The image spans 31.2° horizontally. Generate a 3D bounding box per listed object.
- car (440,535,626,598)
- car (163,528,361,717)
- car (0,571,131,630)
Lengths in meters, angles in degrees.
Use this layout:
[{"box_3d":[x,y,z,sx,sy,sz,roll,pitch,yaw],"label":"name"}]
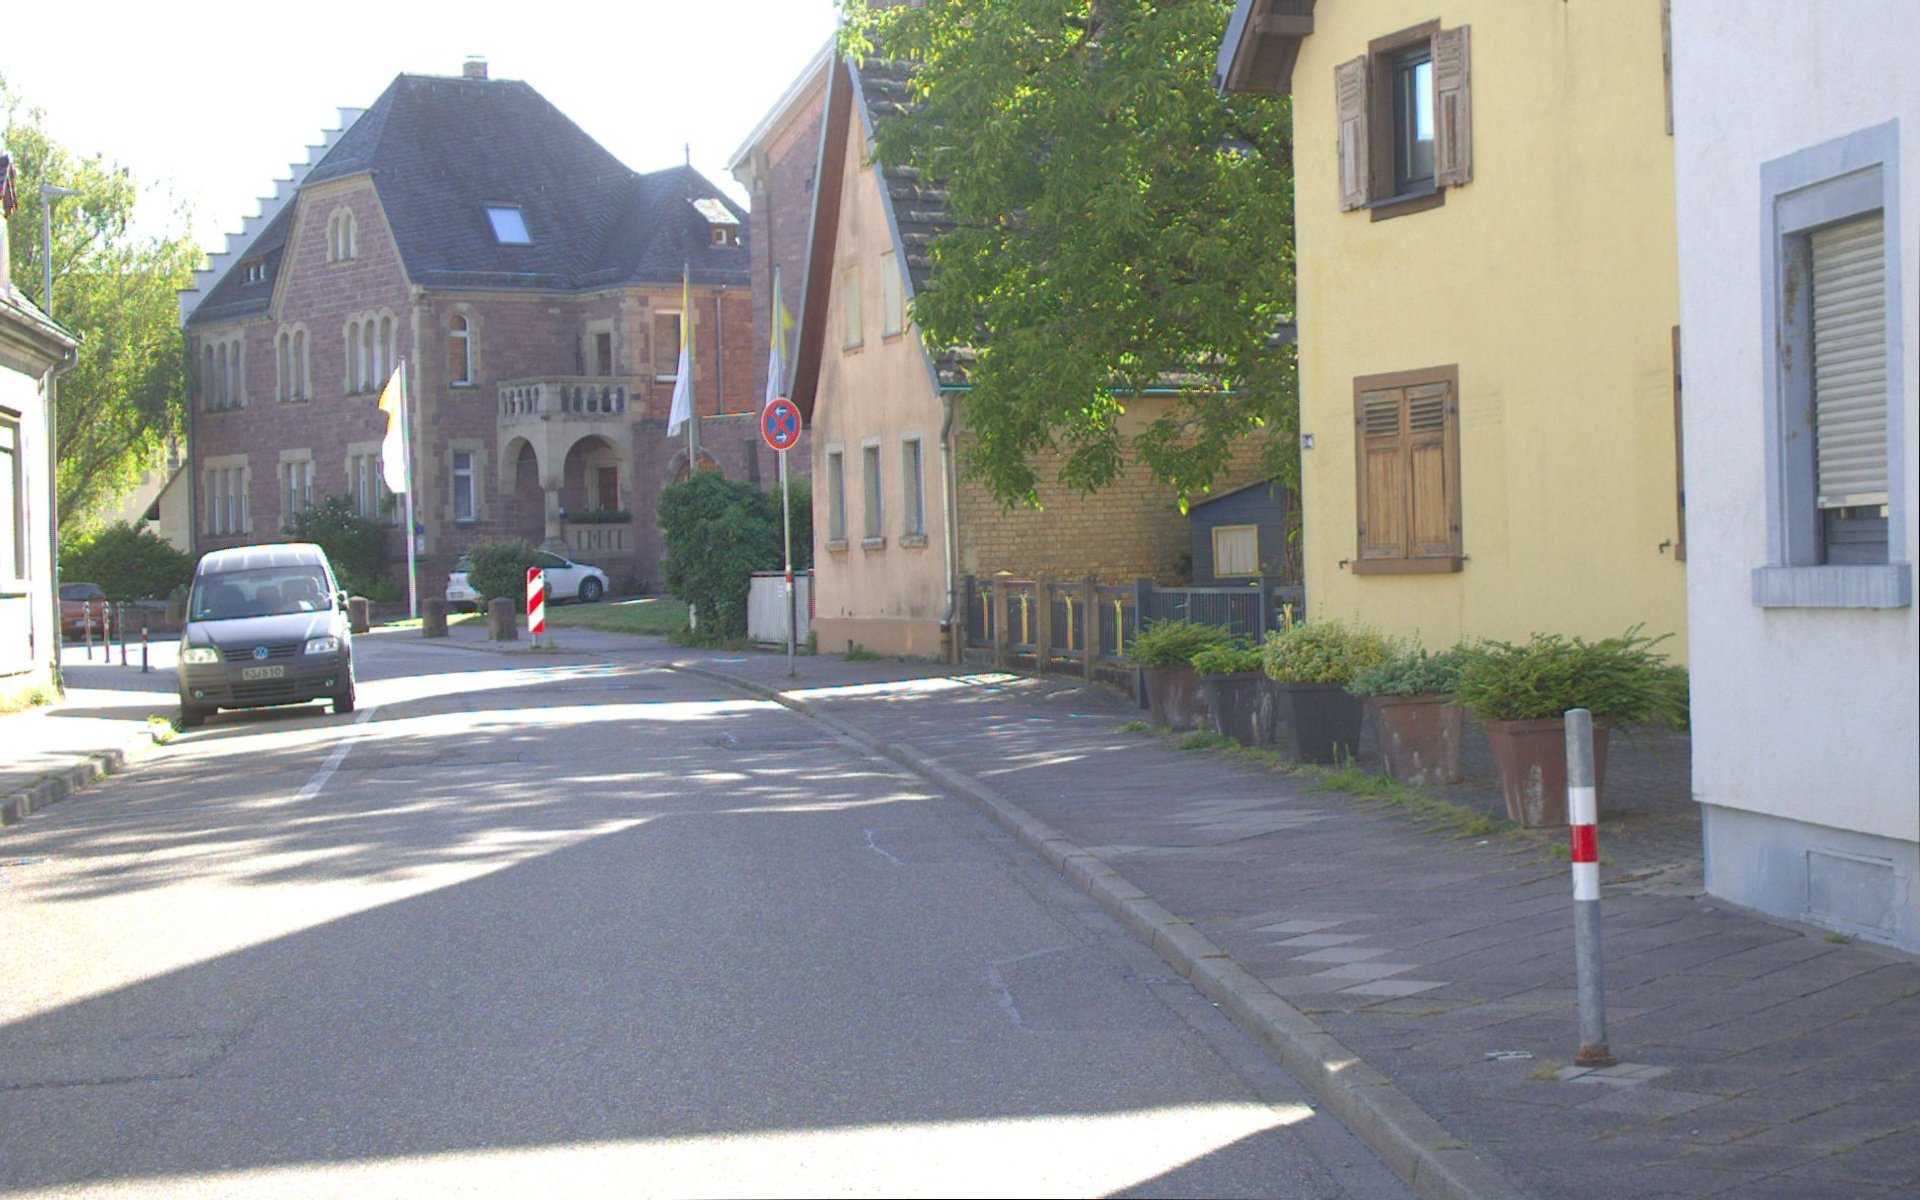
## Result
[{"box_3d":[-10.457,-0.833,84.345,4.235,1.396,1.717,-3,1,-39],"label":"car"},{"box_3d":[-7.447,0.184,36.998,1.825,1.808,4.203,-4,2,-9],"label":"car"},{"box_3d":[-22.554,0.011,86.445,1.713,1.396,4.246,-3,1,-37],"label":"car"}]
